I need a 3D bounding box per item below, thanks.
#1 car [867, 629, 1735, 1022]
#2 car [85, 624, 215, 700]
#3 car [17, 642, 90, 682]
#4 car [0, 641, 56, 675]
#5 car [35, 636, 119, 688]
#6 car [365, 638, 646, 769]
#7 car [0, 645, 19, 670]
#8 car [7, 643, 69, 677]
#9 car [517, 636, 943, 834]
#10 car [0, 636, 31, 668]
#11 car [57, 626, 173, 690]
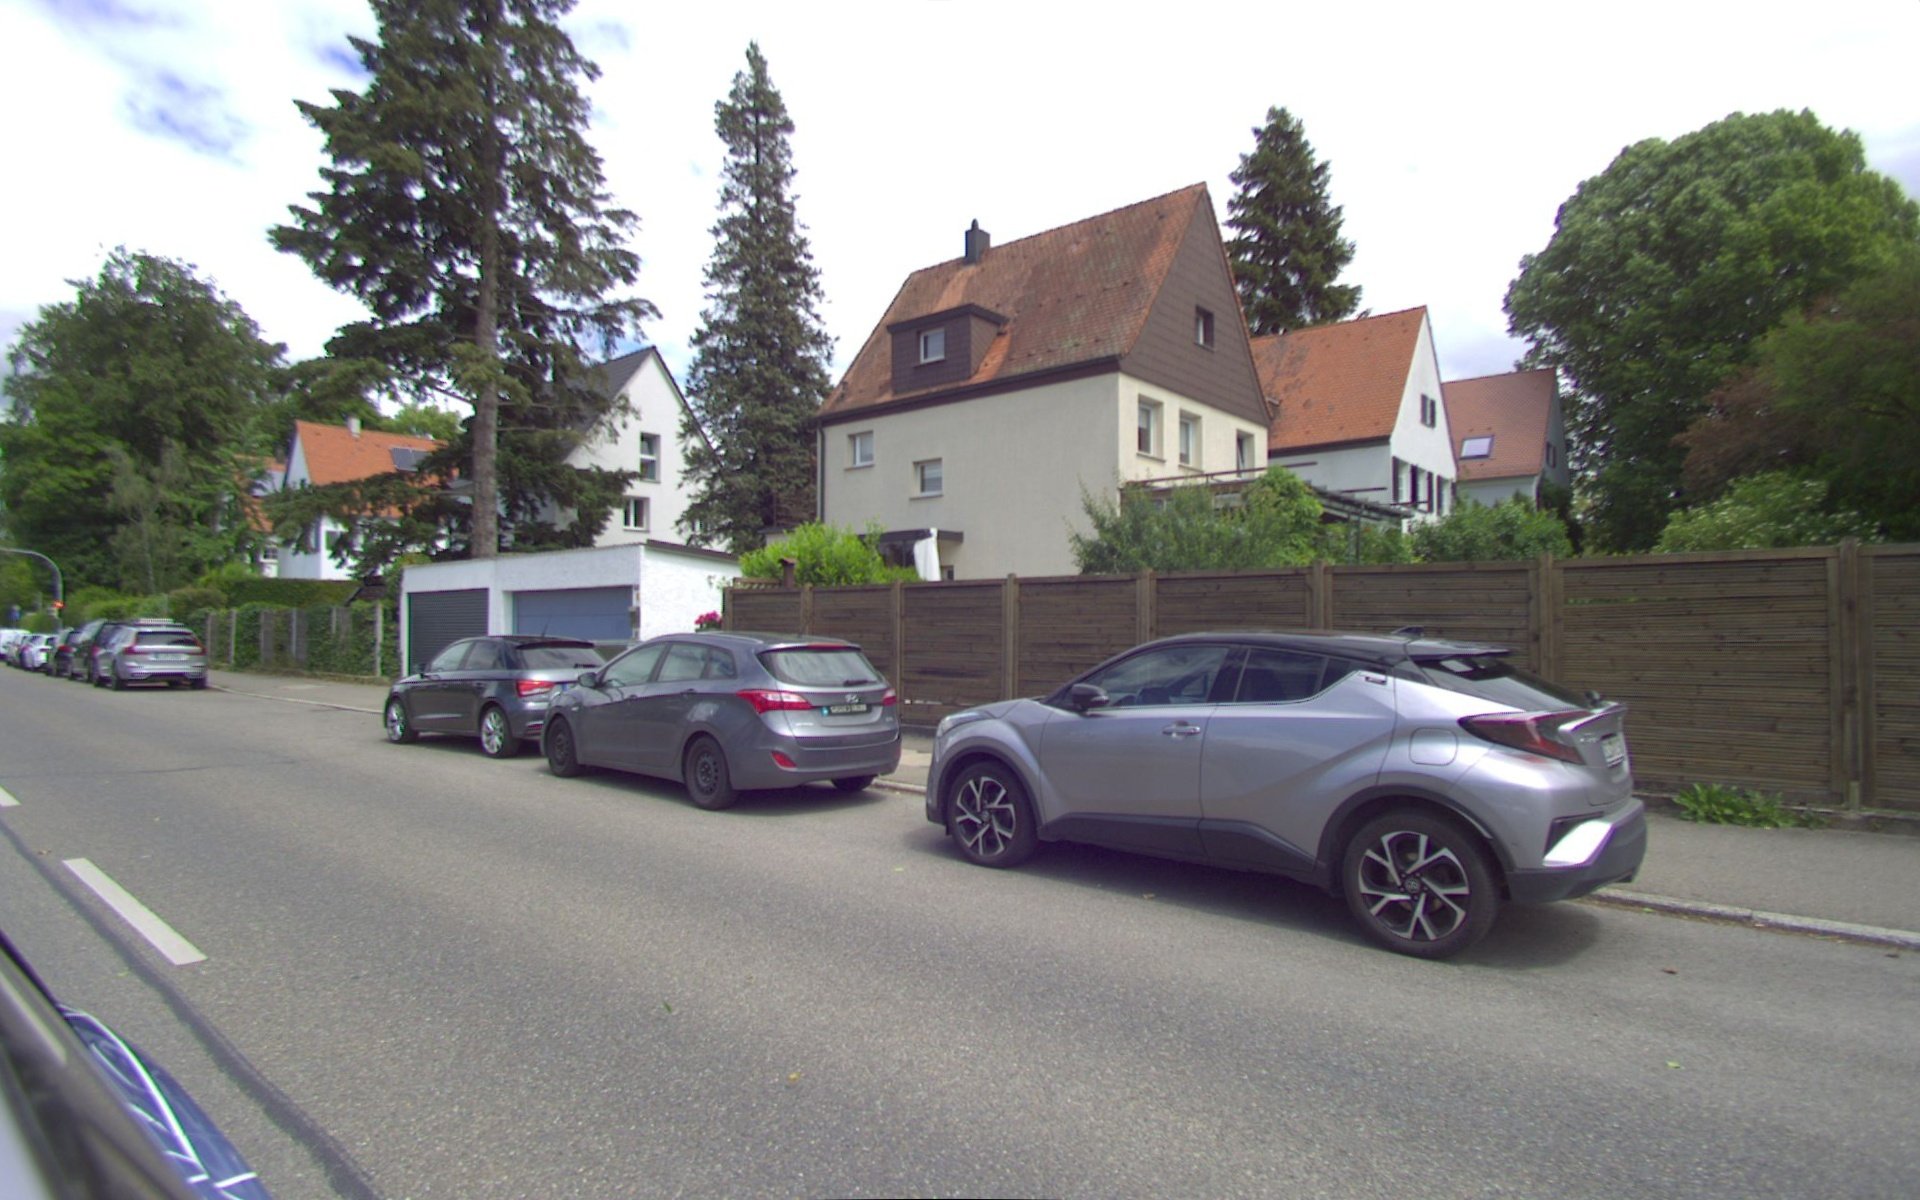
[{"bbox_3d":[1.707,0.951,6.213,4.648,1.491,1.971,-2,-4,44],"label":"car"},{"bbox_3d":[-21.560,1.603,26.884,4.706,1.833,1.963,-3,-3,42],"label":"car"},{"bbox_3d":[-35.664,2.408,39.767,5.070,1.470,1.785,-3,-5,45],"label":"car"},{"bbox_3d":[-43.724,2.720,47.462,3.744,1.555,1.683,-3,-5,45],"label":"car"},{"bbox_3d":[-30.592,2.129,35.010,4.583,1.691,1.609,-3,-5,42],"label":"car"},{"bbox_3d":[-5.916,1.236,13.026,3.899,1.438,1.635,-2,-4,37],"label":"car"},{"bbox_3d":[-58.260,3.447,61.309,1.684,1.464,4.361,5,-5,-42],"label":"car"},{"bbox_3d":[-39.680,2.569,43.531,4.325,1.421,1.723,-3,-4,45],"label":"car"},{"bbox_3d":[-2.414,1.093,9.849,4.489,1.470,1.846,-2,-2,43],"label":"car"},{"bbox_3d":[-54.524,2.967,57.831,4.607,1.772,1.658,-3,-5,43],"label":"car"},{"bbox_3d":[-26.071,1.723,31.169,4.881,1.768,2.045,-2,-1,41],"label":"car"}]
